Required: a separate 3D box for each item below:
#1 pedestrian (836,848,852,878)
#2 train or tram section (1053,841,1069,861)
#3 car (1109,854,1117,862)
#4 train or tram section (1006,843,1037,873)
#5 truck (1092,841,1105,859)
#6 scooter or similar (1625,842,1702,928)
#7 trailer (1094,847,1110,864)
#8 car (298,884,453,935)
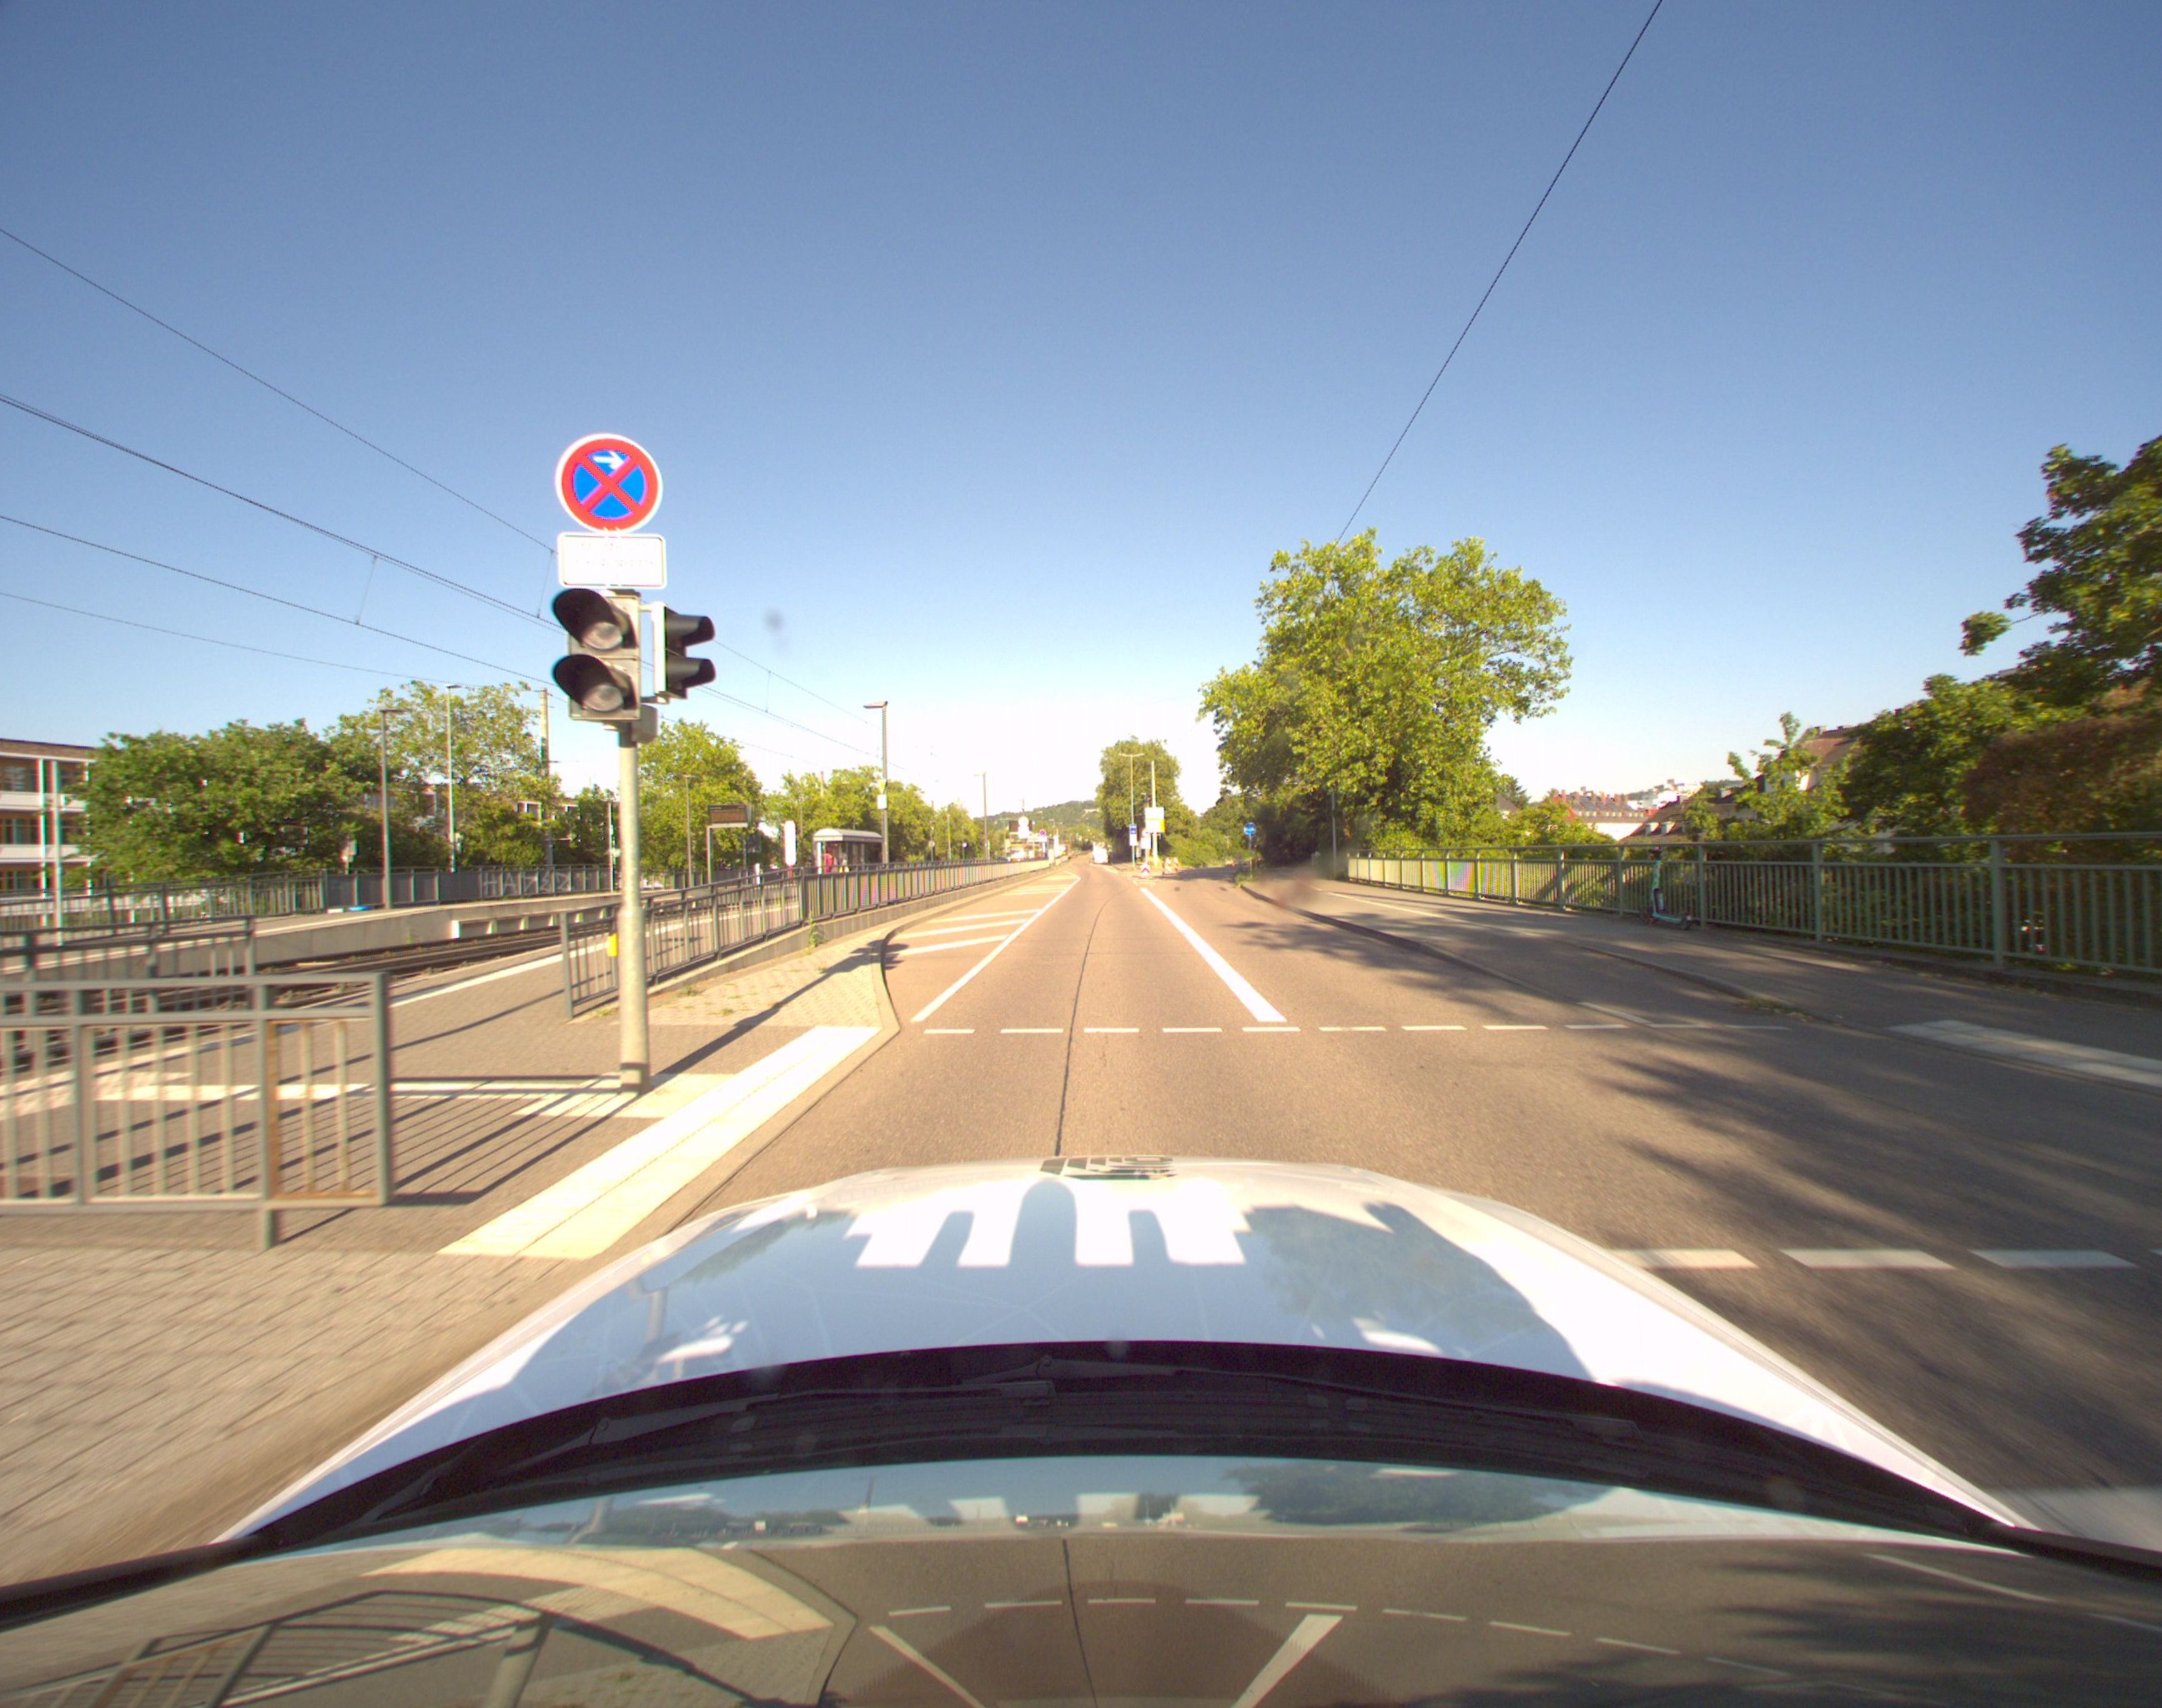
[{"bbox_3d":[-14.210,0.551,48.846,0.692,1.757,0.592,-1,-1,37],"label":"pedestrian"},{"bbox_3d":[-4.291,-0.616,175.738,2.711,4.091,13.619,-2,0,1],"label":"train or tram section"},{"bbox_3d":[6.682,0.802,168.294,1.646,1.437,3.779,-1,0,2],"label":"car"},{"bbox_3d":[-8.681,0.549,120.262,2.816,4.006,15.881,0,0,2],"label":"train or tram section"},{"bbox_3d":[3.760,-0.799,175.682,2.732,3.783,10.090,0,0,1],"label":"truck"},{"bbox_3d":[9.088,0.460,12.740,0.425,1.275,1.083,-2,0,2],"label":"scooter or similar"},{"bbox_3d":[3.298,0.208,127.837,2.241,2.694,5.953,-1,0,4],"label":"trailer"},{"bbox_3d":[-23.995,1.835,27.920,1.726,1.446,4.002,-2,0,2],"label":"car"}]
